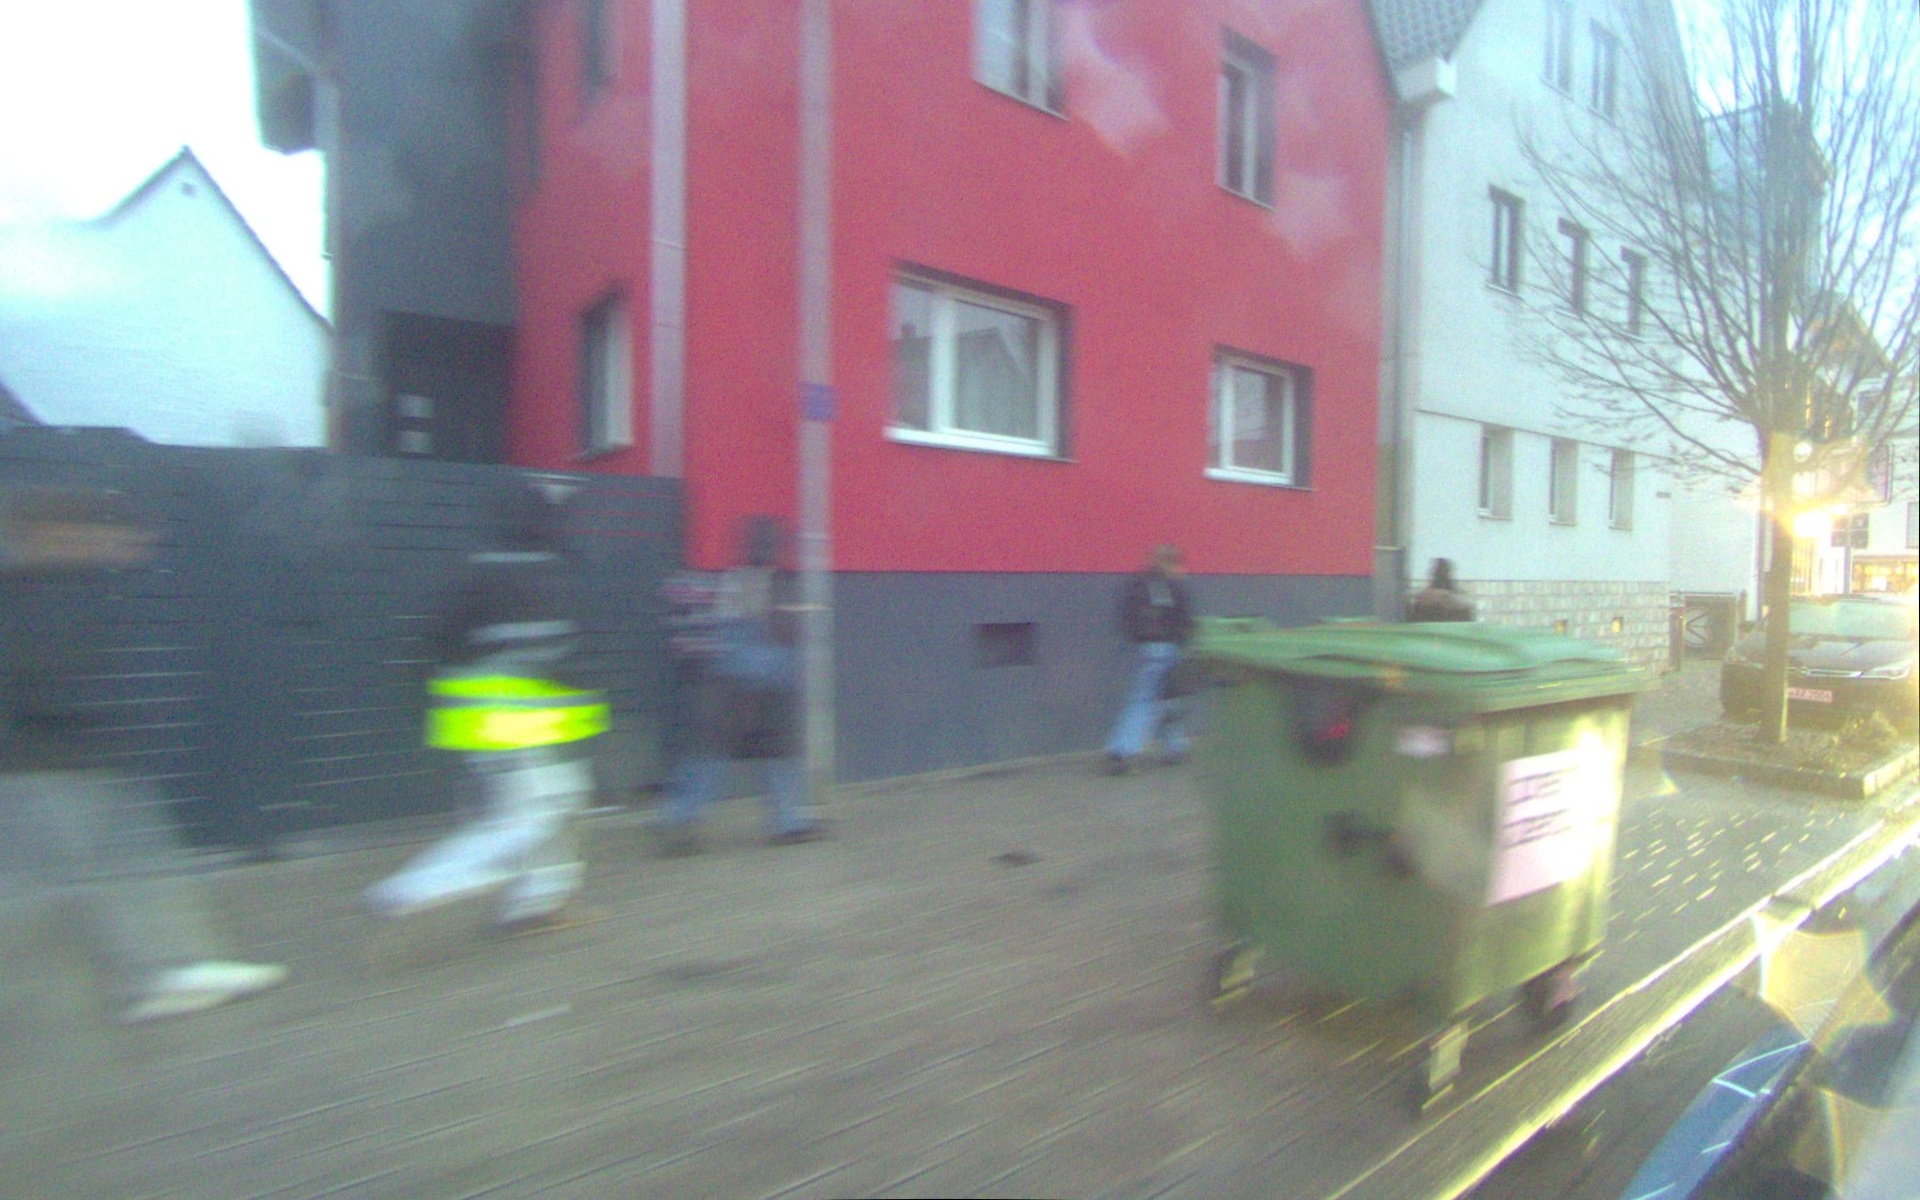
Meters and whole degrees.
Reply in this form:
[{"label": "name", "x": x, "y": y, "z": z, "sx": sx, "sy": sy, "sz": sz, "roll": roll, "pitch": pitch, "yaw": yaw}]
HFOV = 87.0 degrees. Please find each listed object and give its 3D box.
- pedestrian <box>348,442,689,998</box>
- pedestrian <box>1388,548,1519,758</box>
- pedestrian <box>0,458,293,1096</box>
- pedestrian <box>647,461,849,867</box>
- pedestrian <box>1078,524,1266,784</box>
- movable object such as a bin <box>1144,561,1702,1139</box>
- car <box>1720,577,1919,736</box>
[{"label": "pedestrian", "x": -1.590, "y": 0.370, "z": 3.694, "sx": 1.013, "sy": 1.736, "sz": 0.716, "roll": 1, "pitch": 2, "yaw": -26}, {"label": "pedestrian", "x": 4.195, "y": 0.413, "z": 8.600, "sx": 0.935, "sy": 1.673, "sz": 0.531, "roll": -3, "pitch": 1, "yaw": -29}, {"label": "pedestrian", "x": -2.522, "y": 0.450, "z": 2.866, "sx": 1.000, "sy": 1.650, "sz": 0.481, "roll": 1, "pitch": 2, "yaw": -39}, {"label": "pedestrian", "x": -1.048, "y": 0.285, "z": 4.985, "sx": 0.847, "sy": 1.823, "sz": 0.531, "roll": 0, "pitch": 0, "yaw": -29}, {"label": "pedestrian", "x": 1.507, "y": 0.339, "z": 7.217, "sx": 1.031, "sy": 1.699, "sz": 0.750, "roll": 1, "pitch": 2, "yaw": -33}, {"label": "movable object such as a bin", "x": 1.565, "y": 0.636, "z": 3.458, "sx": 1.391, "sy": 1.437, "sz": 1.133, "roll": 1, "pitch": 4, "yaw": -37}, {"label": "car", "x": 10.712, "y": 0.550, "z": 11.883, "sx": 4.121, "sy": 1.482, "sz": 1.734, "roll": 0, "pitch": 4, "yaw": -37}]
